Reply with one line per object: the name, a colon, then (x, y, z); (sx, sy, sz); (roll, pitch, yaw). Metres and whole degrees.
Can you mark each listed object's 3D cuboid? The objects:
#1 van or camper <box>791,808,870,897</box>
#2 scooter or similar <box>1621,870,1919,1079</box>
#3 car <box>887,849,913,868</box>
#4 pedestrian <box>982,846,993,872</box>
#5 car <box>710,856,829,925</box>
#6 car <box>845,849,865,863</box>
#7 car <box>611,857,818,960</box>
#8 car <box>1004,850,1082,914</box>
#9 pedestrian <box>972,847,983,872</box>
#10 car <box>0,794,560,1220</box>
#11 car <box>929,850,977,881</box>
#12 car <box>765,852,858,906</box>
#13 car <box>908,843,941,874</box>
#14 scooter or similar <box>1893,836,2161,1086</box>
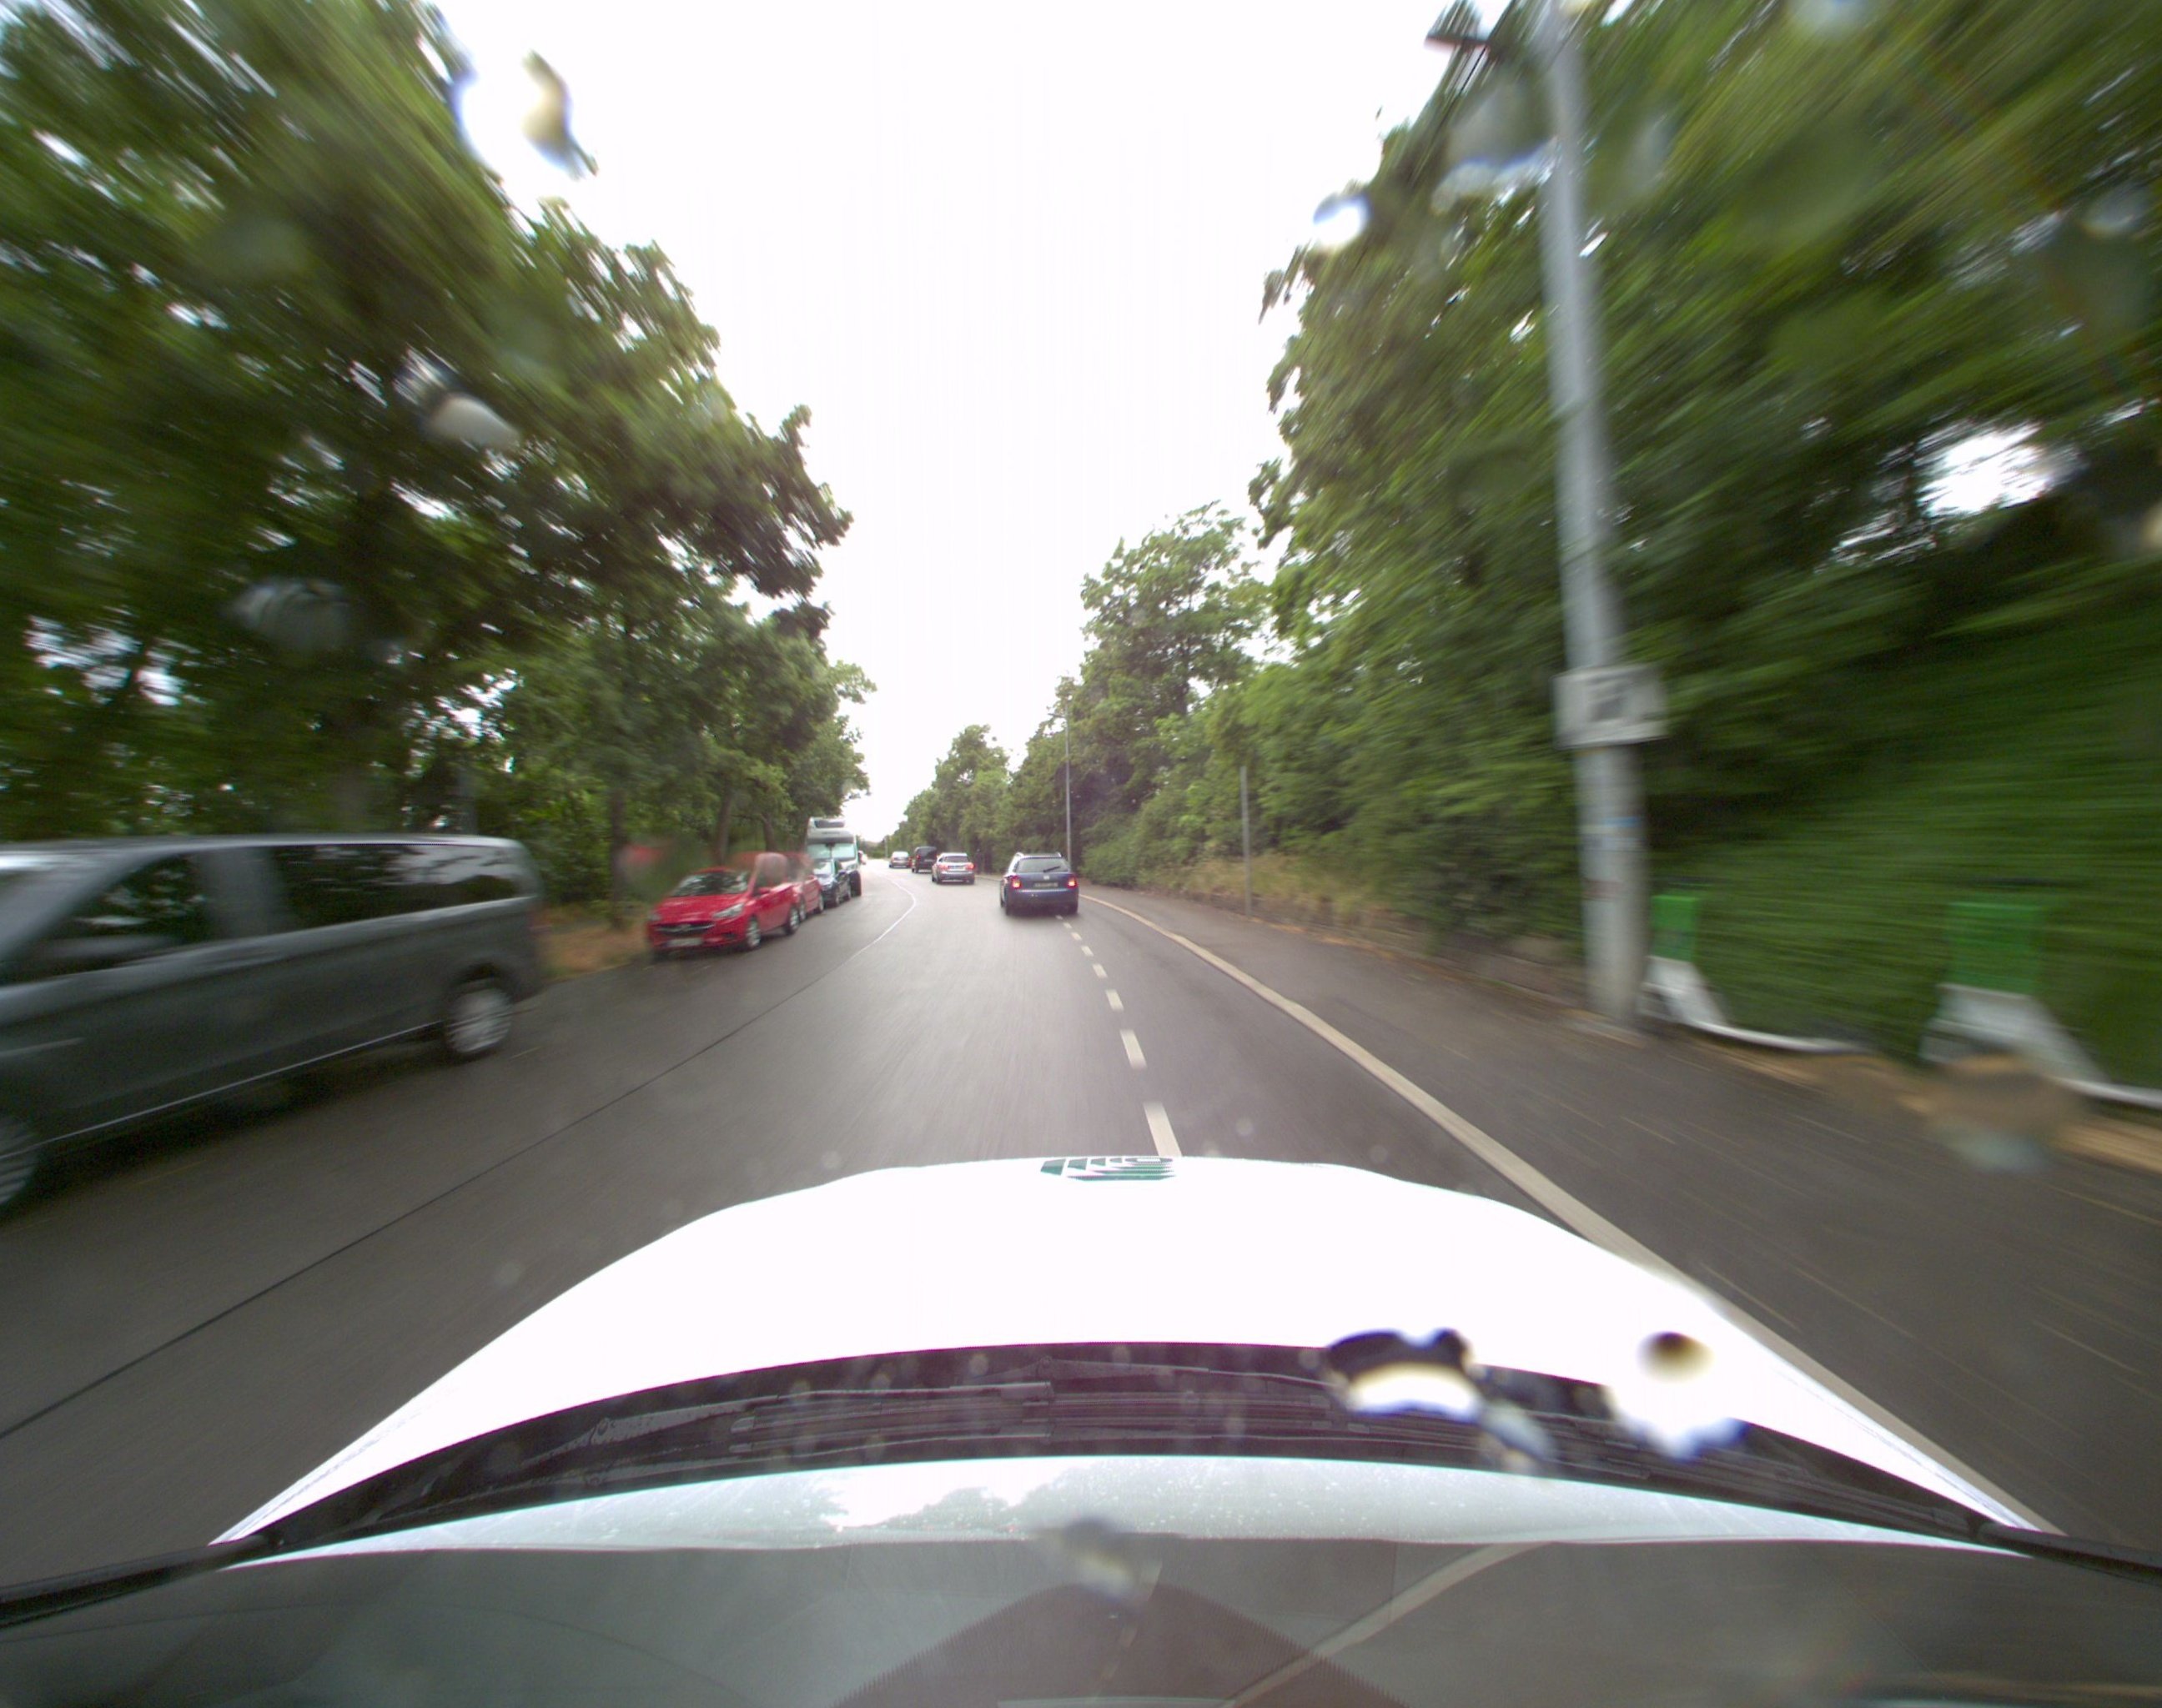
van or camper: (-9.781, -0.067, 31.914); (2.512, 3.026, 6.523); (-3, 0, -17)
scooter or similar: (4.307, 0.678, 5.215); (0.347, 1.117, 1.412); (-5, 1, -22)
car: (-15.997, 0.409, 71.945); (1.827, 1.617, 3.762); (-2, 0, -18)
pedestrian: (-5.798, 0.321, 50.432); (0.596, 1.566, 0.666); (-1, 0, -13)
car: (-7.723, 0.847, 20.537); (1.953, 1.408, 3.534); (-4, 1, -8)
car: (-24.016, 0.175, 86.567); (1.888, 1.402, 4.231); (-2, 0, -17)
car: (-6.678, 0.885, 15.501); (1.950, 1.461, 4.571); (-4, 1, -3)
car: (-1.044, 0.615, 20.460); (1.745, 1.407, 3.992); (-1, 0, -6)
pedestrian: (-6.391, 0.343, 50.355); (0.552, 1.566, 0.485); (-2, 0, -13)
car: (-6.017, 0.751, 5.229); (1.948, 1.967, 5.002); (-5, 1, 0)
car: (-6.257, 0.521, 39.488); (1.894, 1.389, 3.979); (-1, 1, -15)
car: (-8.391, 0.720, 25.725); (1.953, 1.408, 4.196); (-4, 1, -8)
car: (-11.125, 0.340, 57.754); (1.792, 1.953, 3.978); (-4, 0, -16)
scooter or similar: (4.895, 0.480, 3.861); (0.348, 1.117, 1.410); (0, -2, -27)
